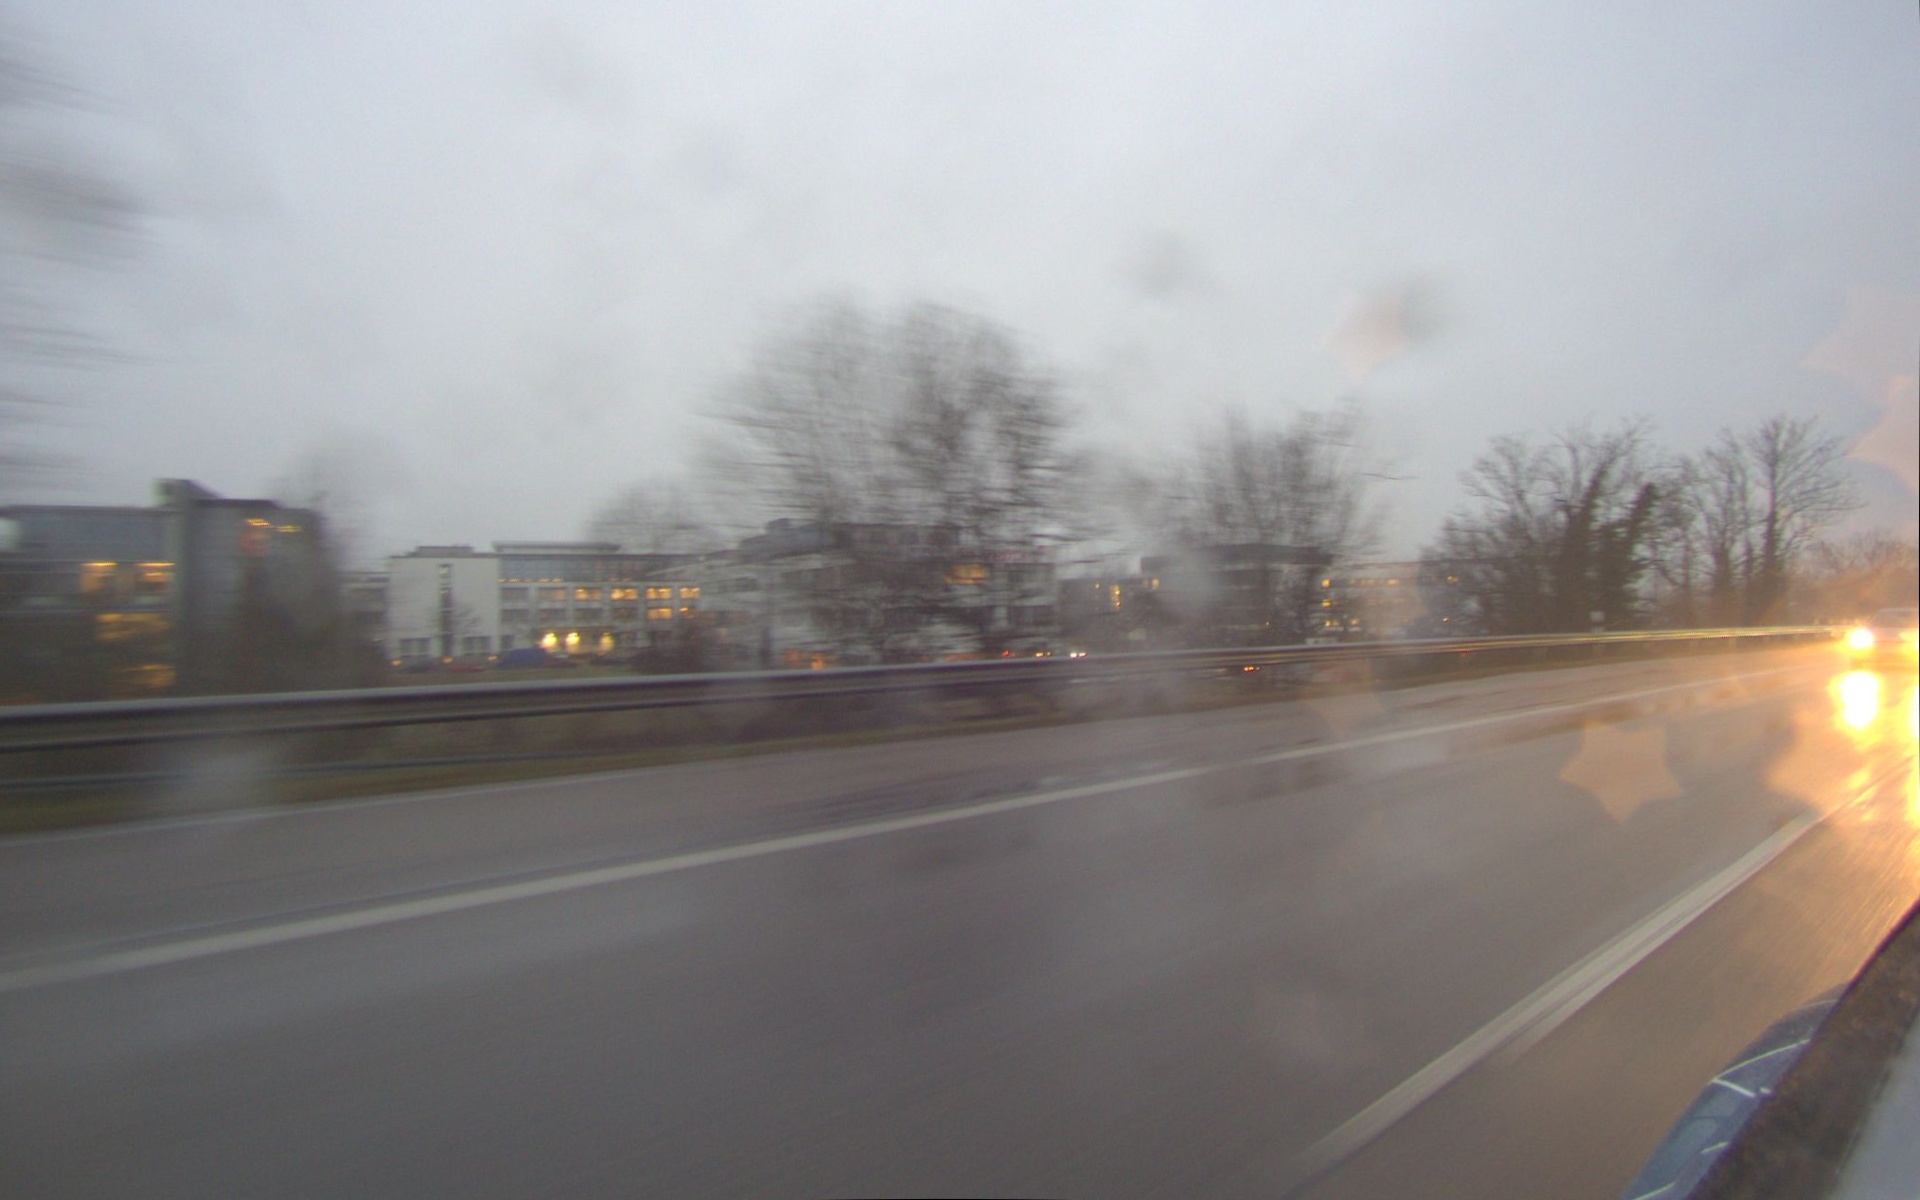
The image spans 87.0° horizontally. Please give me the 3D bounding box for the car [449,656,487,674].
[{"bbox_3d":[-60.967,8.025,125.470,3.924,2.039,2.000,0,0,-35],"label":"car"}]

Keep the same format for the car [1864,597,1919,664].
[{"bbox_3d":[23.774,0.701,24.748,4.073,1.549,1.850,0,0,-39],"label":"car"}]
